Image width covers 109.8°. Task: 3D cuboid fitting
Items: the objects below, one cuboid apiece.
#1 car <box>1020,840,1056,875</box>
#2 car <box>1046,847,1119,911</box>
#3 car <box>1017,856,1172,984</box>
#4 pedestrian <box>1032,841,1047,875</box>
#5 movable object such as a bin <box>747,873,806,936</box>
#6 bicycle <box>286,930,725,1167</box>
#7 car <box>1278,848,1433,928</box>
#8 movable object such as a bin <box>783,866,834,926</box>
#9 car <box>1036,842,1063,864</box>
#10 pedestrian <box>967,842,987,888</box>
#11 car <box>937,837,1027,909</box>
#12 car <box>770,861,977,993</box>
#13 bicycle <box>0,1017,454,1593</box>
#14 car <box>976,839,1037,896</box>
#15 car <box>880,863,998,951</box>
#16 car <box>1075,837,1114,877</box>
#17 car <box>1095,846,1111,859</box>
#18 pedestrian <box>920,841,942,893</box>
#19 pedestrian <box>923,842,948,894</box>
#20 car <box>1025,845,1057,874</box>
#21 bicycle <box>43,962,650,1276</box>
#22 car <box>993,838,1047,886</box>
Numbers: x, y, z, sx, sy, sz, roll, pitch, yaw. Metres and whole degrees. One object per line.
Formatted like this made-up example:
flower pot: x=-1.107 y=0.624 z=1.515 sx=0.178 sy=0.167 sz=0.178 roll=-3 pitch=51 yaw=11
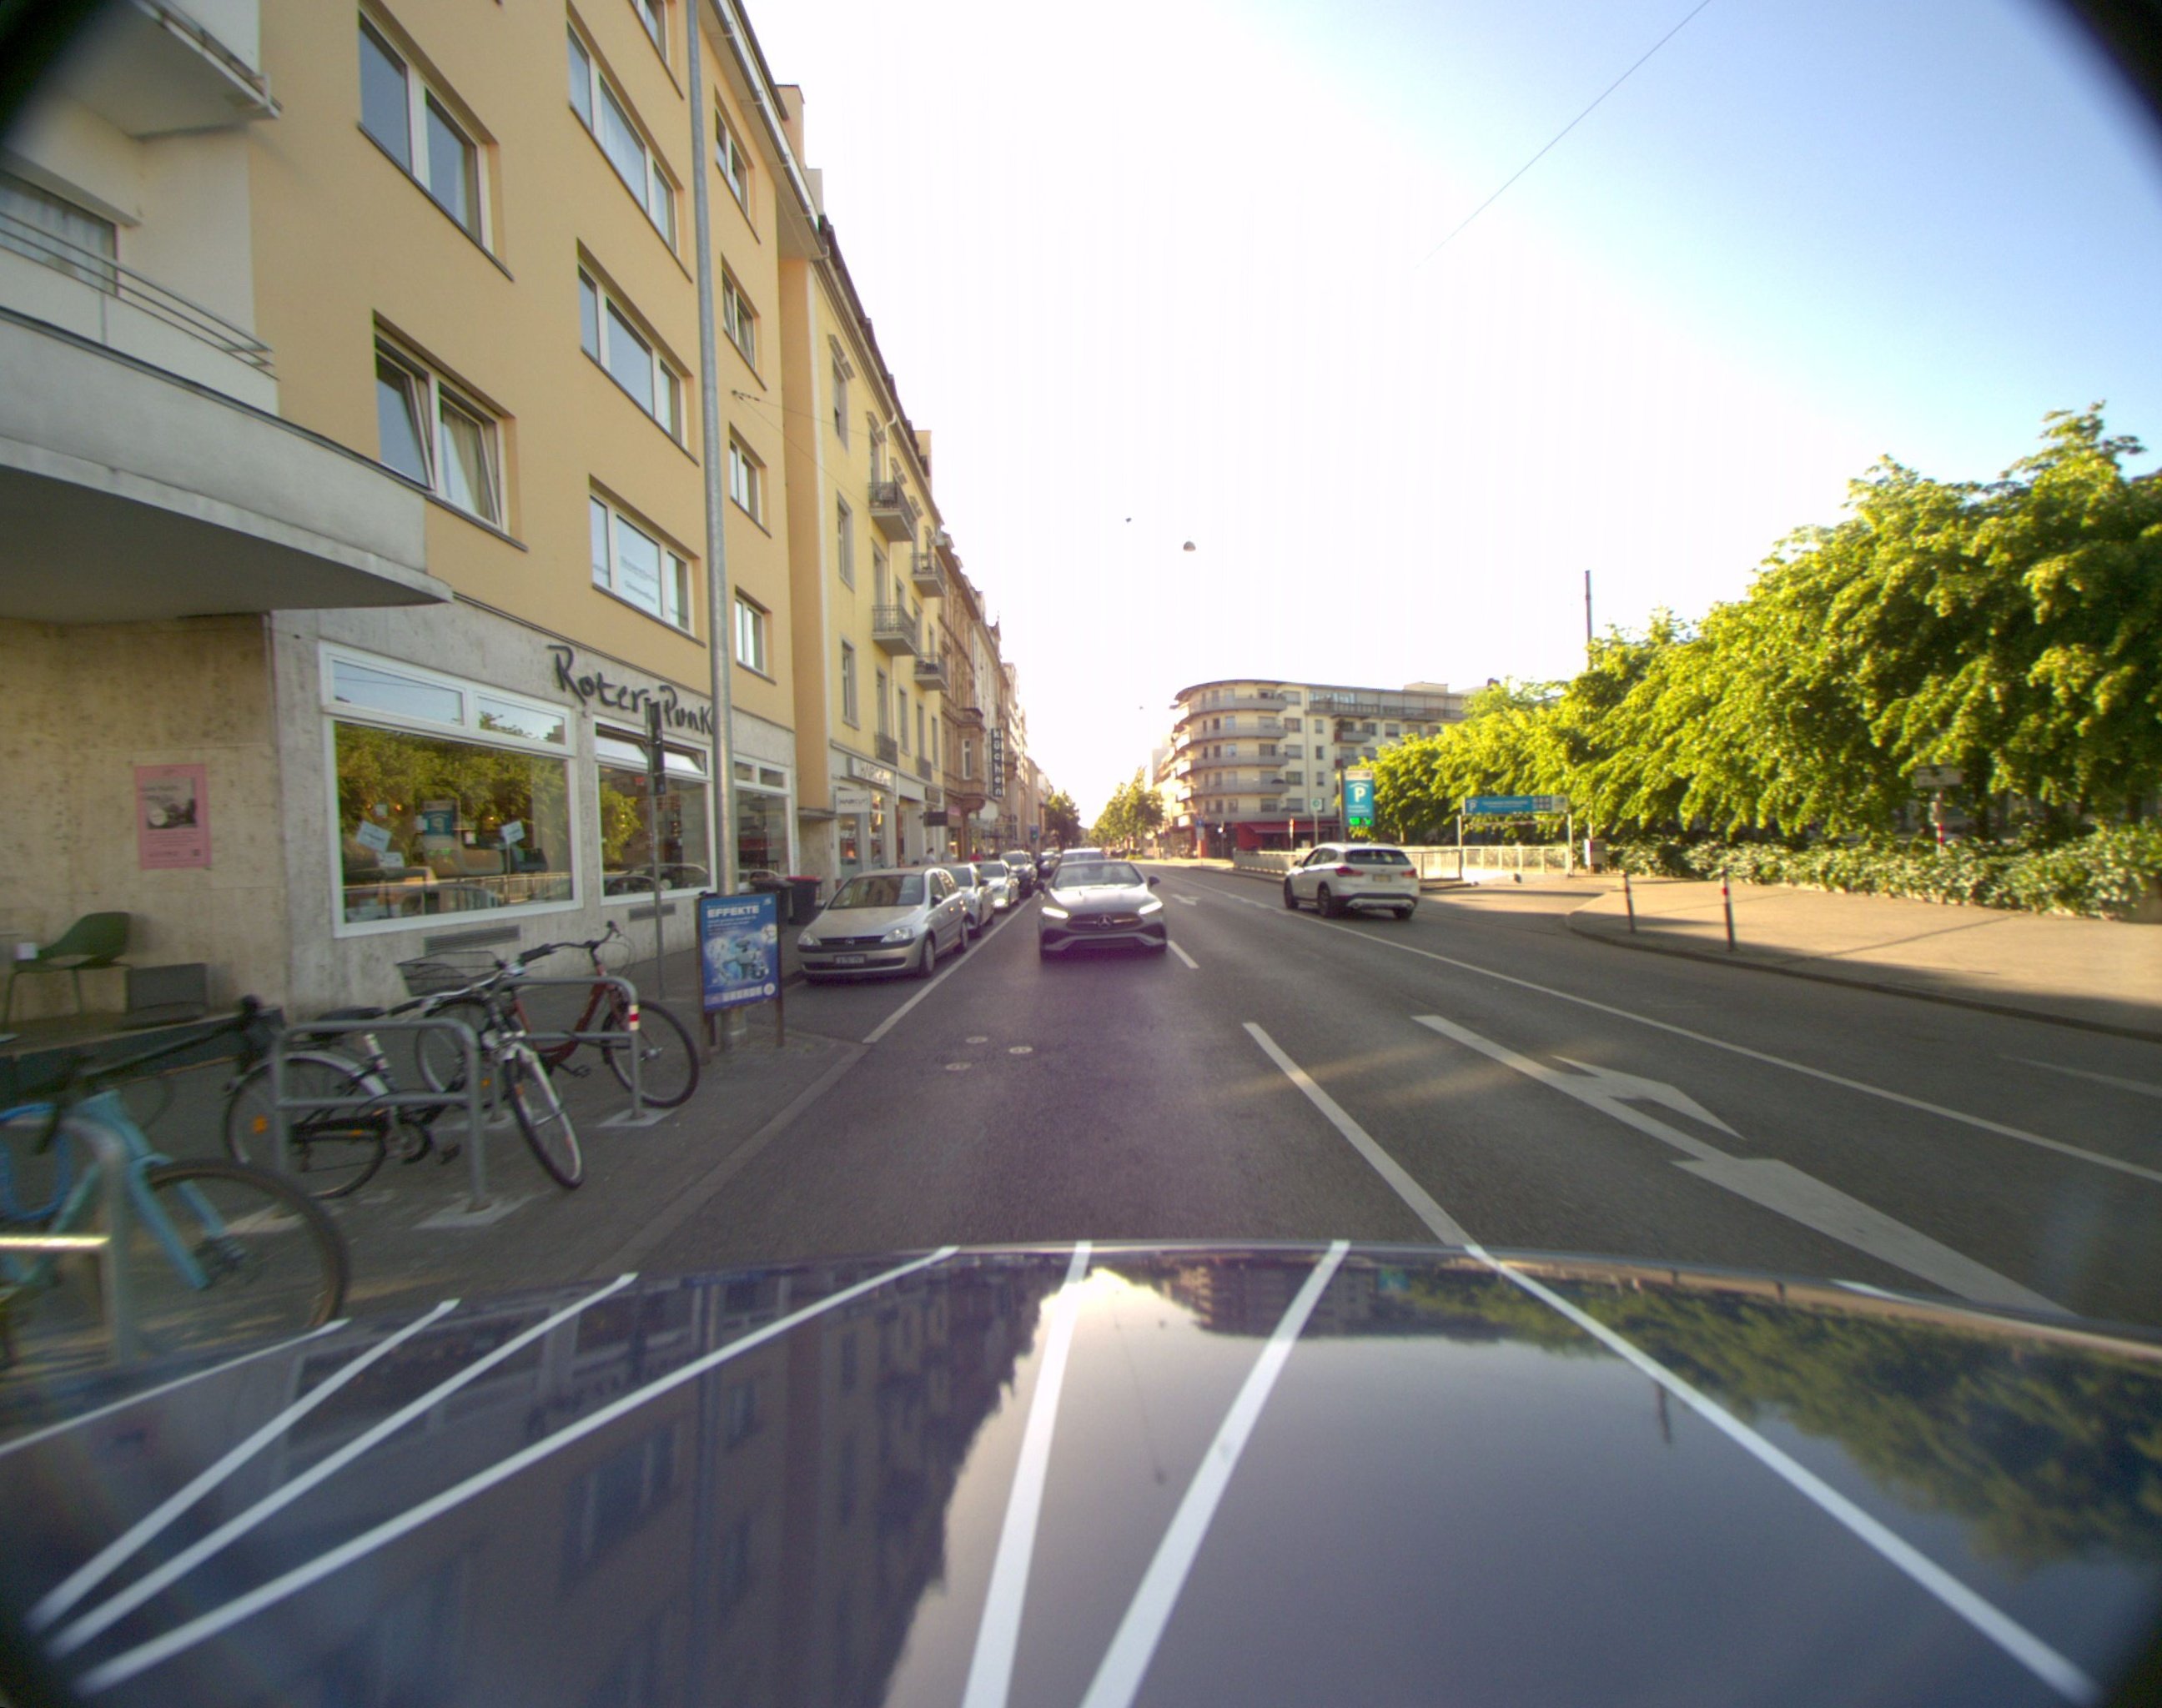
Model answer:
car: x=-2.631 y=0.163 z=47.258 sx=1.999 sy=2.002 sz=4.191 roll=-2 pitch=1 yaw=-1
car: x=0.084 y=0.685 z=23.285 sx=1.998 sy=1.718 sz=3.999 roll=-2 pitch=1 yaw=1
car: x=0.256 y=0.859 z=11.965 sx=1.910 sy=1.454 sz=4.364 roll=-4 pitch=1 yaw=2
pedestrian: x=-2.341 y=0.237 z=43.138 sx=0.610 sy=1.912 sz=0.714 roll=-2 pitch=1 yaw=13
movable object such as a bin: x=-5.993 y=0.976 z=15.004 sx=0.703 sy=1.154 sz=0.960 roll=-2 pitch=1 yaw=1
bicycle: x=-3.317 y=1.107 z=4.506 sx=2.049 sy=1.174 sz=0.683 roll=-2 pitch=1 yaw=1
car: x=5.882 y=0.649 z=16.859 sx=1.846 sy=1.538 sz=4.239 roll=0 pitch=1 yaw=-1
movable object such as a bin: x=-5.997 y=0.915 z=16.771 sx=0.703 sy=1.232 sz=0.960 roll=-2 pitch=1 yaw=1
car: x=-2.593 y=-0.085 z=63.875 sx=1.998 sy=1.718 sz=3.999 roll=-2 pitch=1 yaw=1
pedestrian: x=-4.326 y=0.444 z=31.678 sx=0.694 sy=1.895 sz=0.906 roll=-2 pitch=1 yaw=-3
car: x=-2.651 y=0.452 z=21.282 sx=1.999 sy=1.725 sz=4.197 roll=-2 pitch=1 yaw=-2
car: x=-2.710 y=0.881 z=10.914 sx=1.693 sy=1.390 sz=4.000 roll=-2 pitch=1 yaw=2
bicycle: x=-3.064 y=1.138 z=2.123 sx=1.962 sy=1.151 sz=0.755 roll=-2 pitch=1 yaw=1
car: x=-2.723 y=0.432 z=27.761 sx=1.999 sy=1.867 sz=3.997 roll=-2 pitch=1 yaw=-6
car: x=-2.764 y=0.980 z=15.649 sx=1.741 sy=1.417 sz=3.998 roll=-2 pitch=1 yaw=-2
car: x=0.757 y=0.130 z=42.158 sx=1.998 sy=2.002 sz=3.999 roll=-2 pitch=1 yaw=1
car: x=3.172 y=-0.285 z=110.277 sx=1.999 sy=1.758 sz=3.999 roll=-2 pitch=1 yaw=-1
pedestrian: x=-5.786 y=0.496 z=29.424 sx=0.673 sy=1.942 sz=0.615 roll=-2 pitch=1 yaw=-3
pedestrian: x=-5.481 y=0.524 z=28.677 sx=0.694 sy=1.895 sz=0.906 roll=-2 pitch=1 yaw=-3
car: x=-2.766 y=0.340 z=53.243 sx=1.999 sy=1.852 sz=3.999 roll=-2 pitch=1 yaw=-1
bicycle: x=-3.182 y=1.132 z=3.435 sx=2.026 sy=1.143 sz=0.715 roll=-1 pitch=1 yaw=1
car: x=-2.736 y=0.319 z=34.695 sx=1.998 sy=2.002 sz=3.999 roll=-2 pitch=1 yaw=1
